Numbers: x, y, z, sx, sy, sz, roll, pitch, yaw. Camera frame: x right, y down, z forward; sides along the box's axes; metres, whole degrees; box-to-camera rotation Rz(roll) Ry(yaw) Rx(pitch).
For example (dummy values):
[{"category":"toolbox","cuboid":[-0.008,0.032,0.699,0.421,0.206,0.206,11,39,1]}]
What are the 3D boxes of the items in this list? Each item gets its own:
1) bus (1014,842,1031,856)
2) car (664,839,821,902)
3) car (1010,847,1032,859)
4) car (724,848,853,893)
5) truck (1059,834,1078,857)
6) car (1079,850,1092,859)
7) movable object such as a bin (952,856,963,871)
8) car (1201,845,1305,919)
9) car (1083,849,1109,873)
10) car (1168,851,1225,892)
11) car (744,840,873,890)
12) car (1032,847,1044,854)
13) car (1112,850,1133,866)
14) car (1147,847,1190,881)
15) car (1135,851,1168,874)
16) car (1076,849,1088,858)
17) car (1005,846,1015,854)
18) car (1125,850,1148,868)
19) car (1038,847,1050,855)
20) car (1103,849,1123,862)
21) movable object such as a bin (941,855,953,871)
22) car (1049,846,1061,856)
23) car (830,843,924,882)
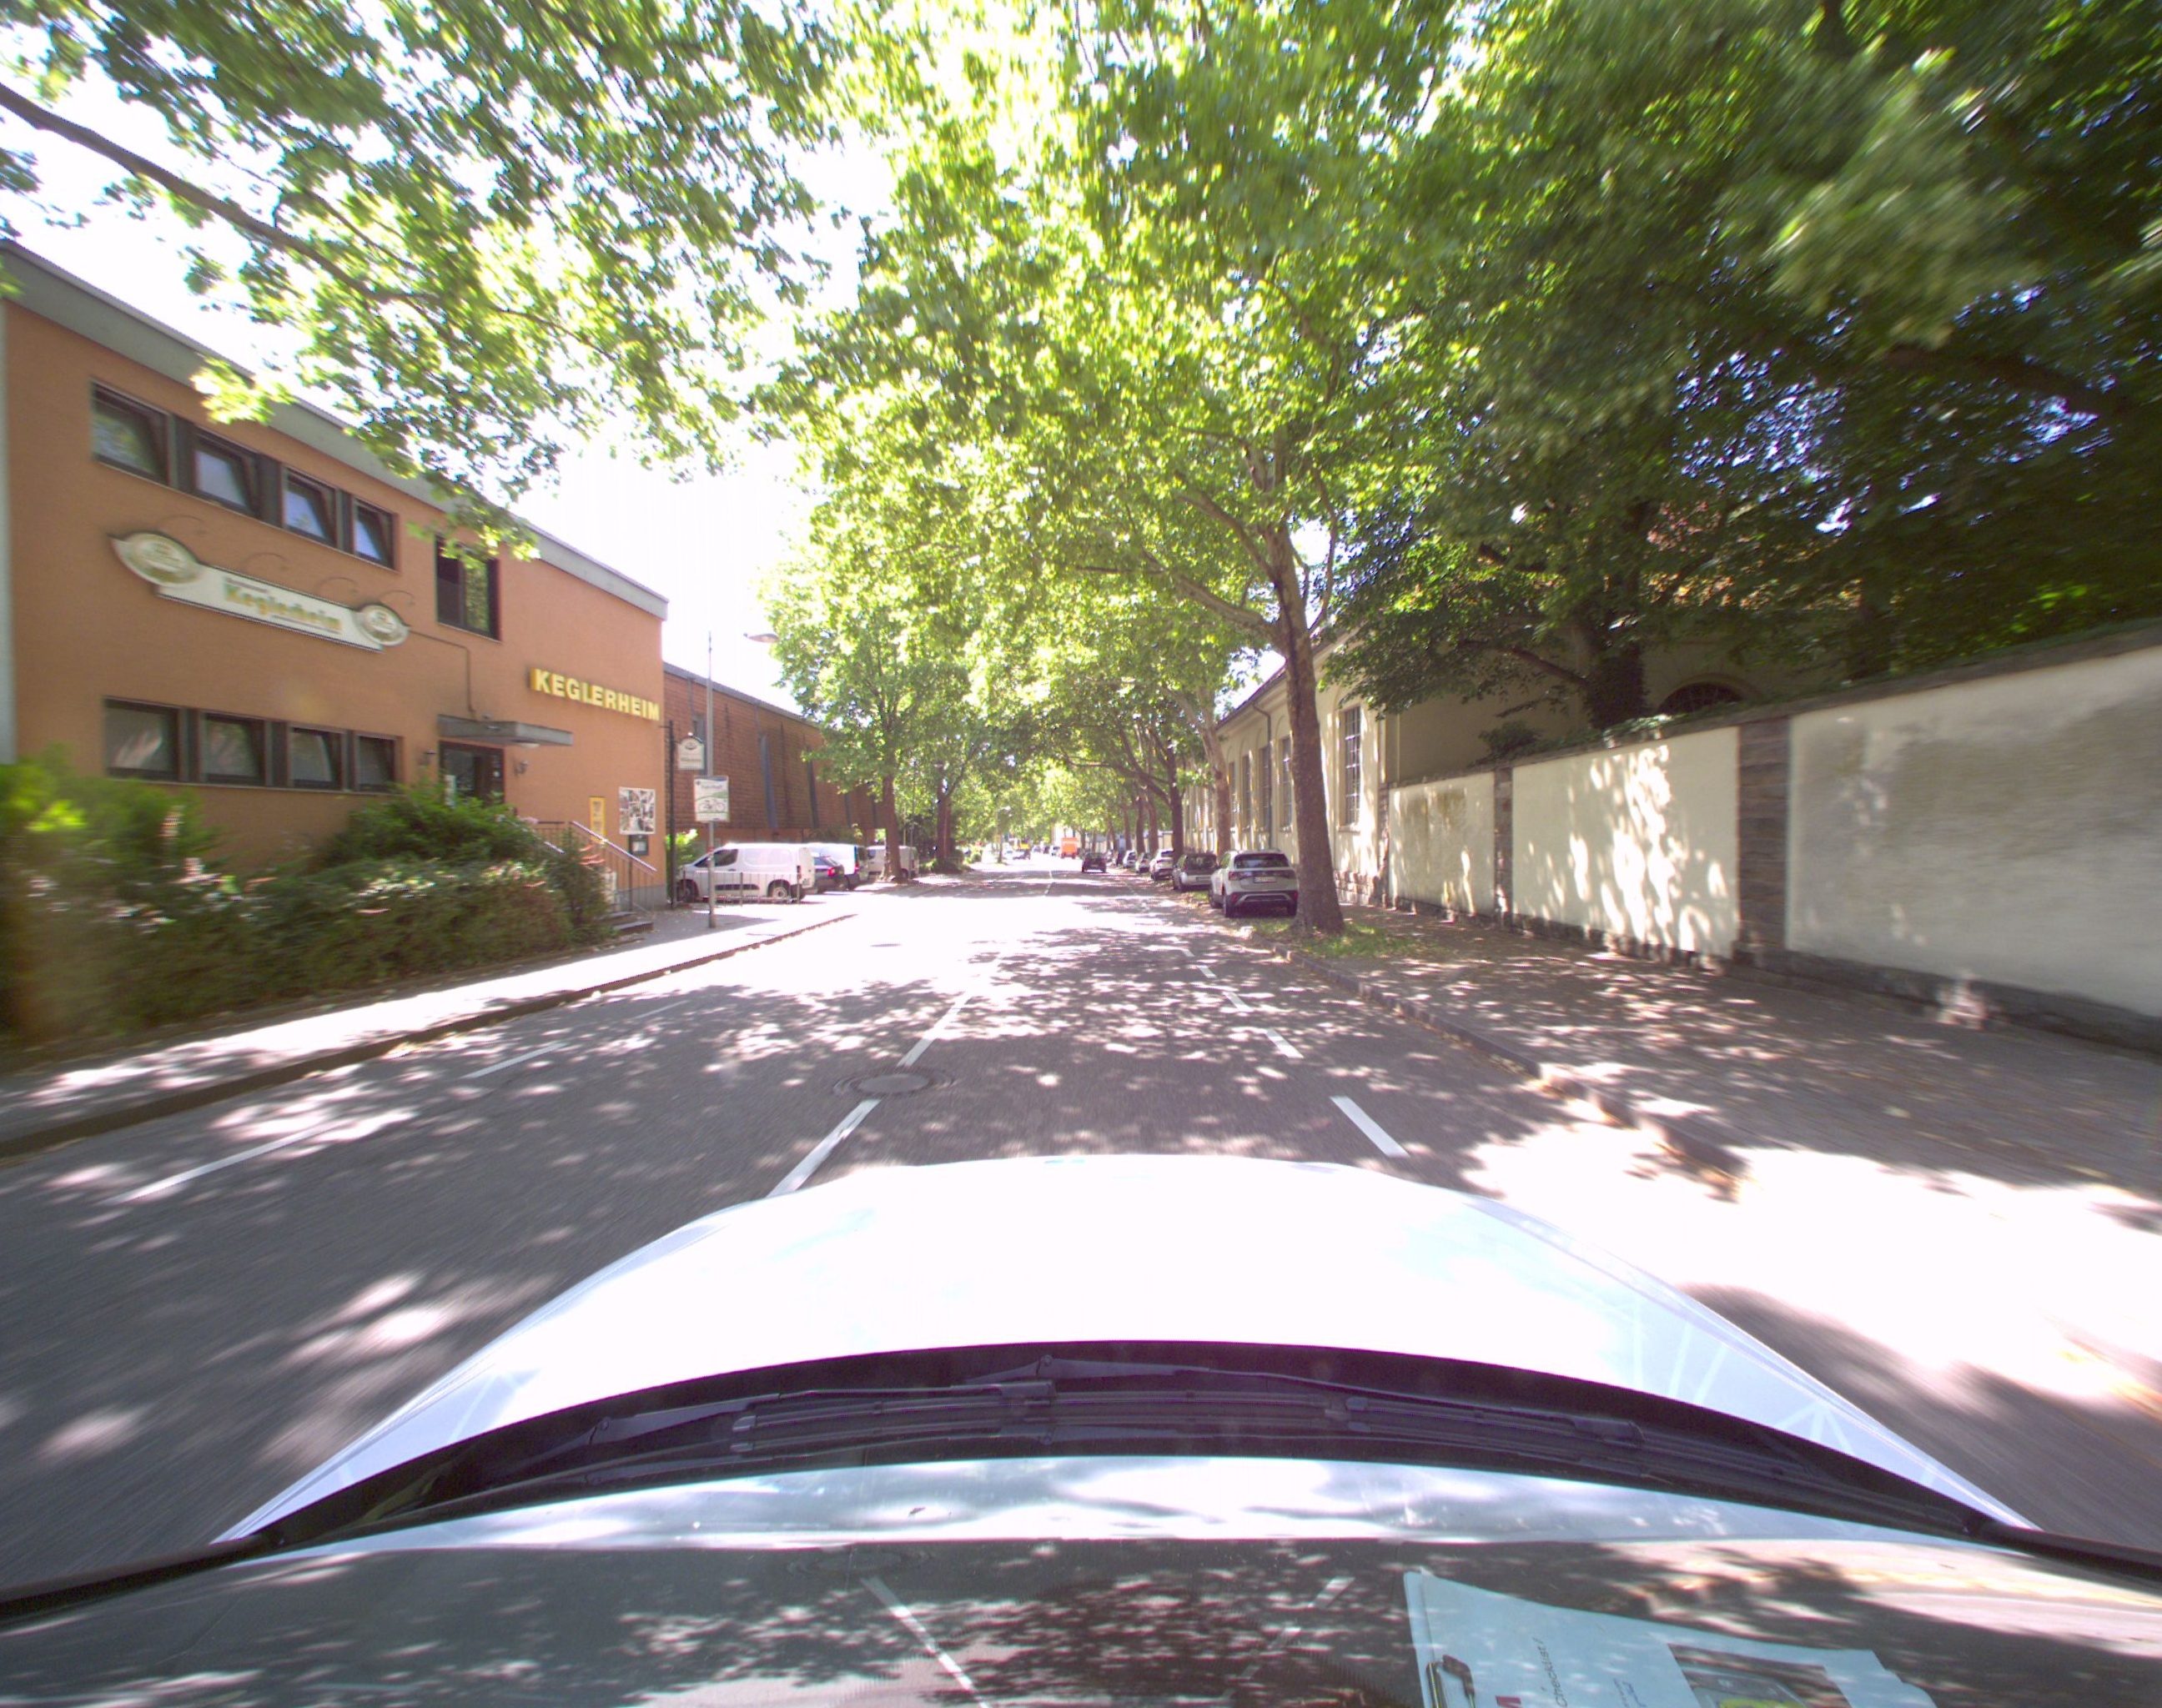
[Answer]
[{"category":"bus","cuboid":[-13.925,-1.210,192.624,2.665,3.150,11.151,-1,0,-12]},{"category":"car","cuboid":[-10.336,0.496,25.108,3.977,1.792,1.866,1,0,-3]},{"category":"car","cuboid":[-8.245,-0.103,112.764,1.980,1.666,4.013,-1,-1,12]},{"category":"car","cuboid":[-10.588,0.594,29.697,3.977,1.515,1.866,1,0,-3]},{"category":"truck","cuboid":[-1.801,-1.211,115.937,2.366,3.134,5.760,0,-1,-4]},{"category":"car","cuboid":[0.623,0.059,127.012,1.763,1.374,3.724,0,0,-4]},{"category":"movable object such as a bin","cuboid":[-8.883,0.682,58.611,0.621,1.048,0.621,0,0,2]},{"category":"car","cuboid":[4.184,0.599,20.587,1.734,1.557,4.782,-2,1,2]},{"category":"car","cuboid":[1.000,0.469,56.775,1.706,1.447,4.057,-1,2,0]},{"category":"car","cuboid":[4.475,0.645,32.106,1.616,1.439,4.433,-2,0,1]},{"category":"car","cuboid":[-10.682,0.416,32.188,4.412,1.804,1.901,1,0,-3]},{"category":"car","cuboid":[-8.771,-0.727,165.442,1.768,1.374,3.715,-2,0,-12]},{"category":"car","cuboid":[4.141,0.365,81.727,1.761,1.466,3.874,-2,0,-1]},{"category":"car","cuboid":[4.647,0.511,43.964,1.802,1.689,4.752,-2,0,1]},{"category":"car","cuboid":[4.663,0.533,54.534,1.761,1.433,3.874,-2,0,-1]},{"category":"car","cuboid":[0.211,-0.056,139.736,1.763,1.374,3.724,-2,0,-4]},{"category":"car","cuboid":[-13.727,-0.761,156.845,1.707,1.447,4.054,-1,0,-3]},{"category":"car","cuboid":[4.671,0.403,69.110,1.573,1.466,3.874,-2,0,-1]},{"category":"car","cuboid":[-6.906,-0.522,151.813,1.768,1.374,3.714,-2,0,-12]},{"category":"car","cuboid":[3.583,0.153,91.390,1.763,1.374,3.724,-2,0,-4]},{"category":"movable object such as a bin","cuboid":[-9.637,0.640,58.517,0.732,1.078,0.701,0,0,0]},{"category":"car","cuboid":[-4.372,-0.522,137.288,1.876,1.686,3.993,0,-1,-4]},{"category":"car","cuboid":[-10.031,0.427,40.306,4.118,1.804,1.901,1,0,-3]}]
